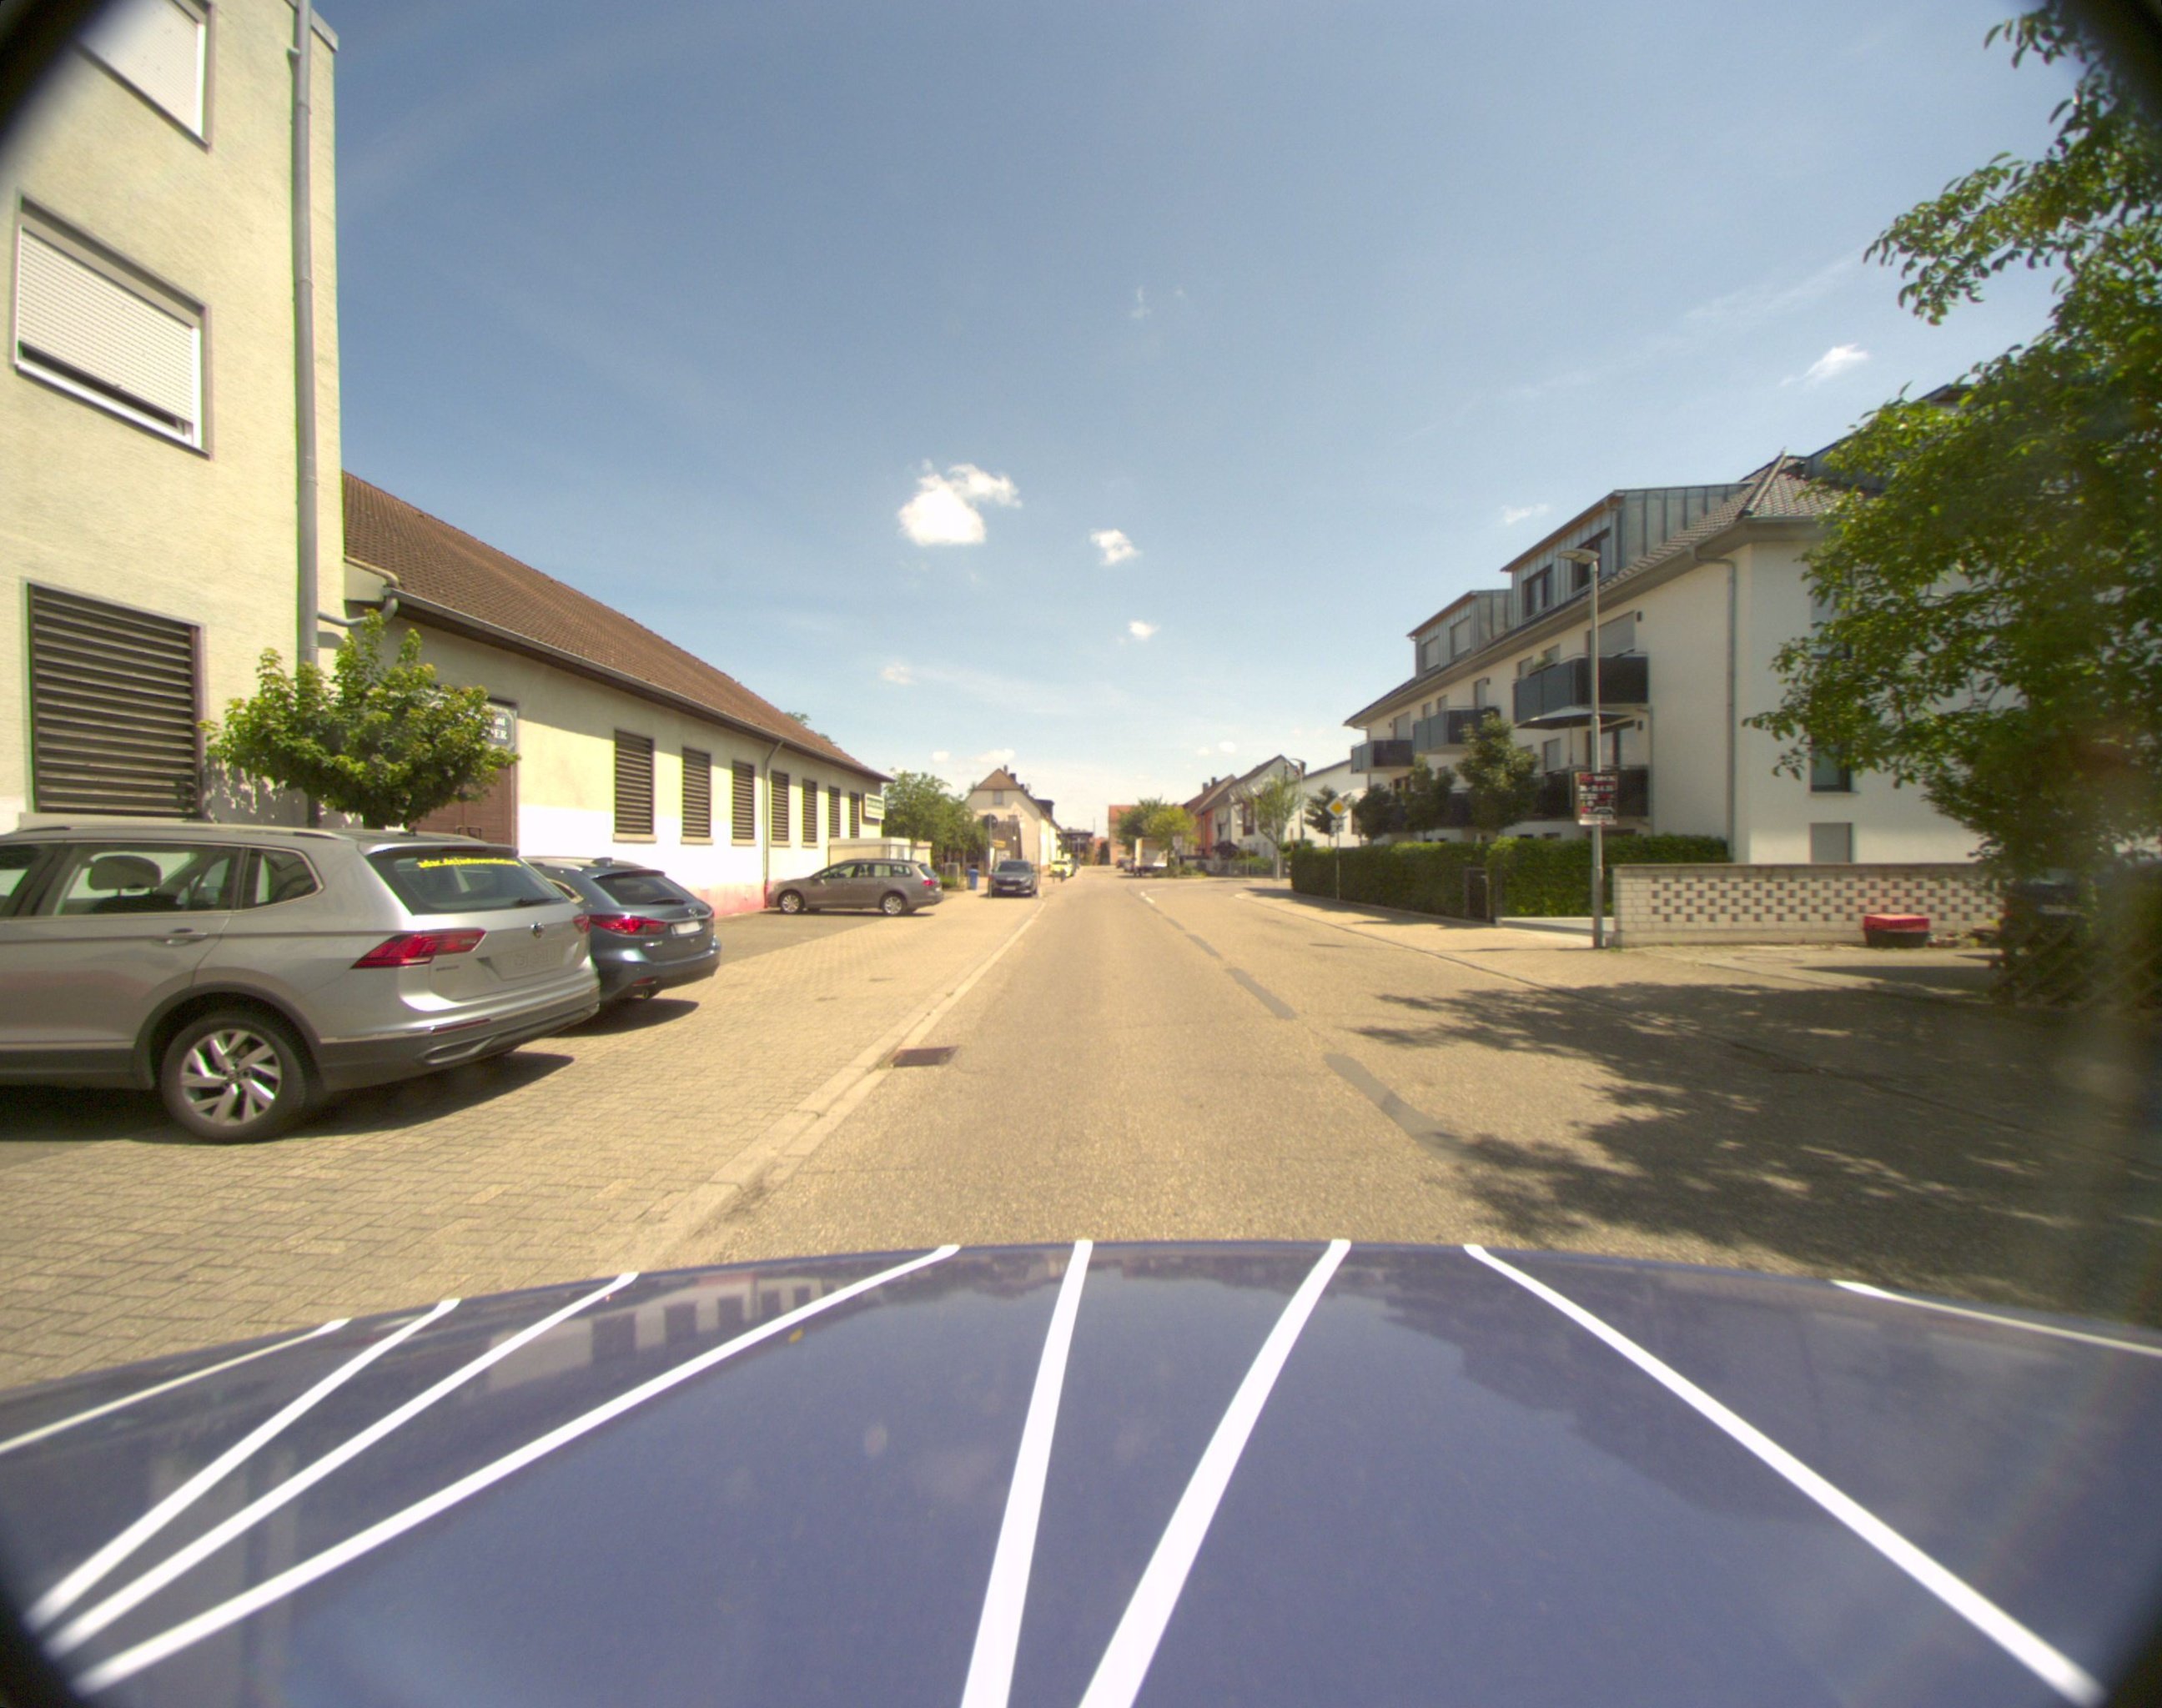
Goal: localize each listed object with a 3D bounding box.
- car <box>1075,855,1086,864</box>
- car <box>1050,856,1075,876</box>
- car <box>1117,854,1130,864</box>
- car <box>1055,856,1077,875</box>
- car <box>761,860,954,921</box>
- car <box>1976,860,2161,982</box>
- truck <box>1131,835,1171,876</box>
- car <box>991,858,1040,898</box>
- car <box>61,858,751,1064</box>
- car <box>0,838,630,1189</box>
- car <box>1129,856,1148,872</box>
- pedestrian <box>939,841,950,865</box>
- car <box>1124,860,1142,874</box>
[{"bbox_3d":[-0.061,0.948,140.804,1.720,1.491,4.215,3,0,1],"label":"car"},{"bbox_3d":[-1.449,0.924,60.788,1.720,1.390,4.215,3,0,1],"label":"car"},{"bbox_3d":[6.527,0.770,116.317,1.720,1.491,4.215,2,0,0],"label":"car"},{"bbox_3d":[-1.265,0.963,65.503,1.720,1.491,4.215,3,0,1],"label":"car"},{"bbox_3d":[-5.833,0.926,20.240,4.537,1.446,1.918,1,0,1],"label":"car"},{"bbox_3d":[14.893,0.817,10.020,3.922,1.483,1.794,0,-1,3],"label":"car"},{"bbox_3d":[5.971,0.125,65.622,2.444,3.227,7.035,3,0,-1],"label":"truck"},{"bbox_3d":[-2.618,0.925,31.029,1.632,1.480,4.139,0,0,0],"label":"car"},{"bbox_3d":[-5.730,0.848,6.950,4.511,1.511,2.000,1,0,0],"label":"car"},{"bbox_3d":[-5.596,0.771,4.673,4.464,1.687,1.922,1,0,-1],"label":"car"},{"bbox_3d":[5.997,1.020,79.595,1.720,1.491,4.215,2,0,0],"label":"car"},{"bbox_3d":[-9.608,-0.075,53.436,0.463,1.710,0.599,1,1,42],"label":"pedestrian"},{"bbox_3d":[5.836,1.462,85.592,1.720,1.491,4.215,2,0,0],"label":"car"}]
